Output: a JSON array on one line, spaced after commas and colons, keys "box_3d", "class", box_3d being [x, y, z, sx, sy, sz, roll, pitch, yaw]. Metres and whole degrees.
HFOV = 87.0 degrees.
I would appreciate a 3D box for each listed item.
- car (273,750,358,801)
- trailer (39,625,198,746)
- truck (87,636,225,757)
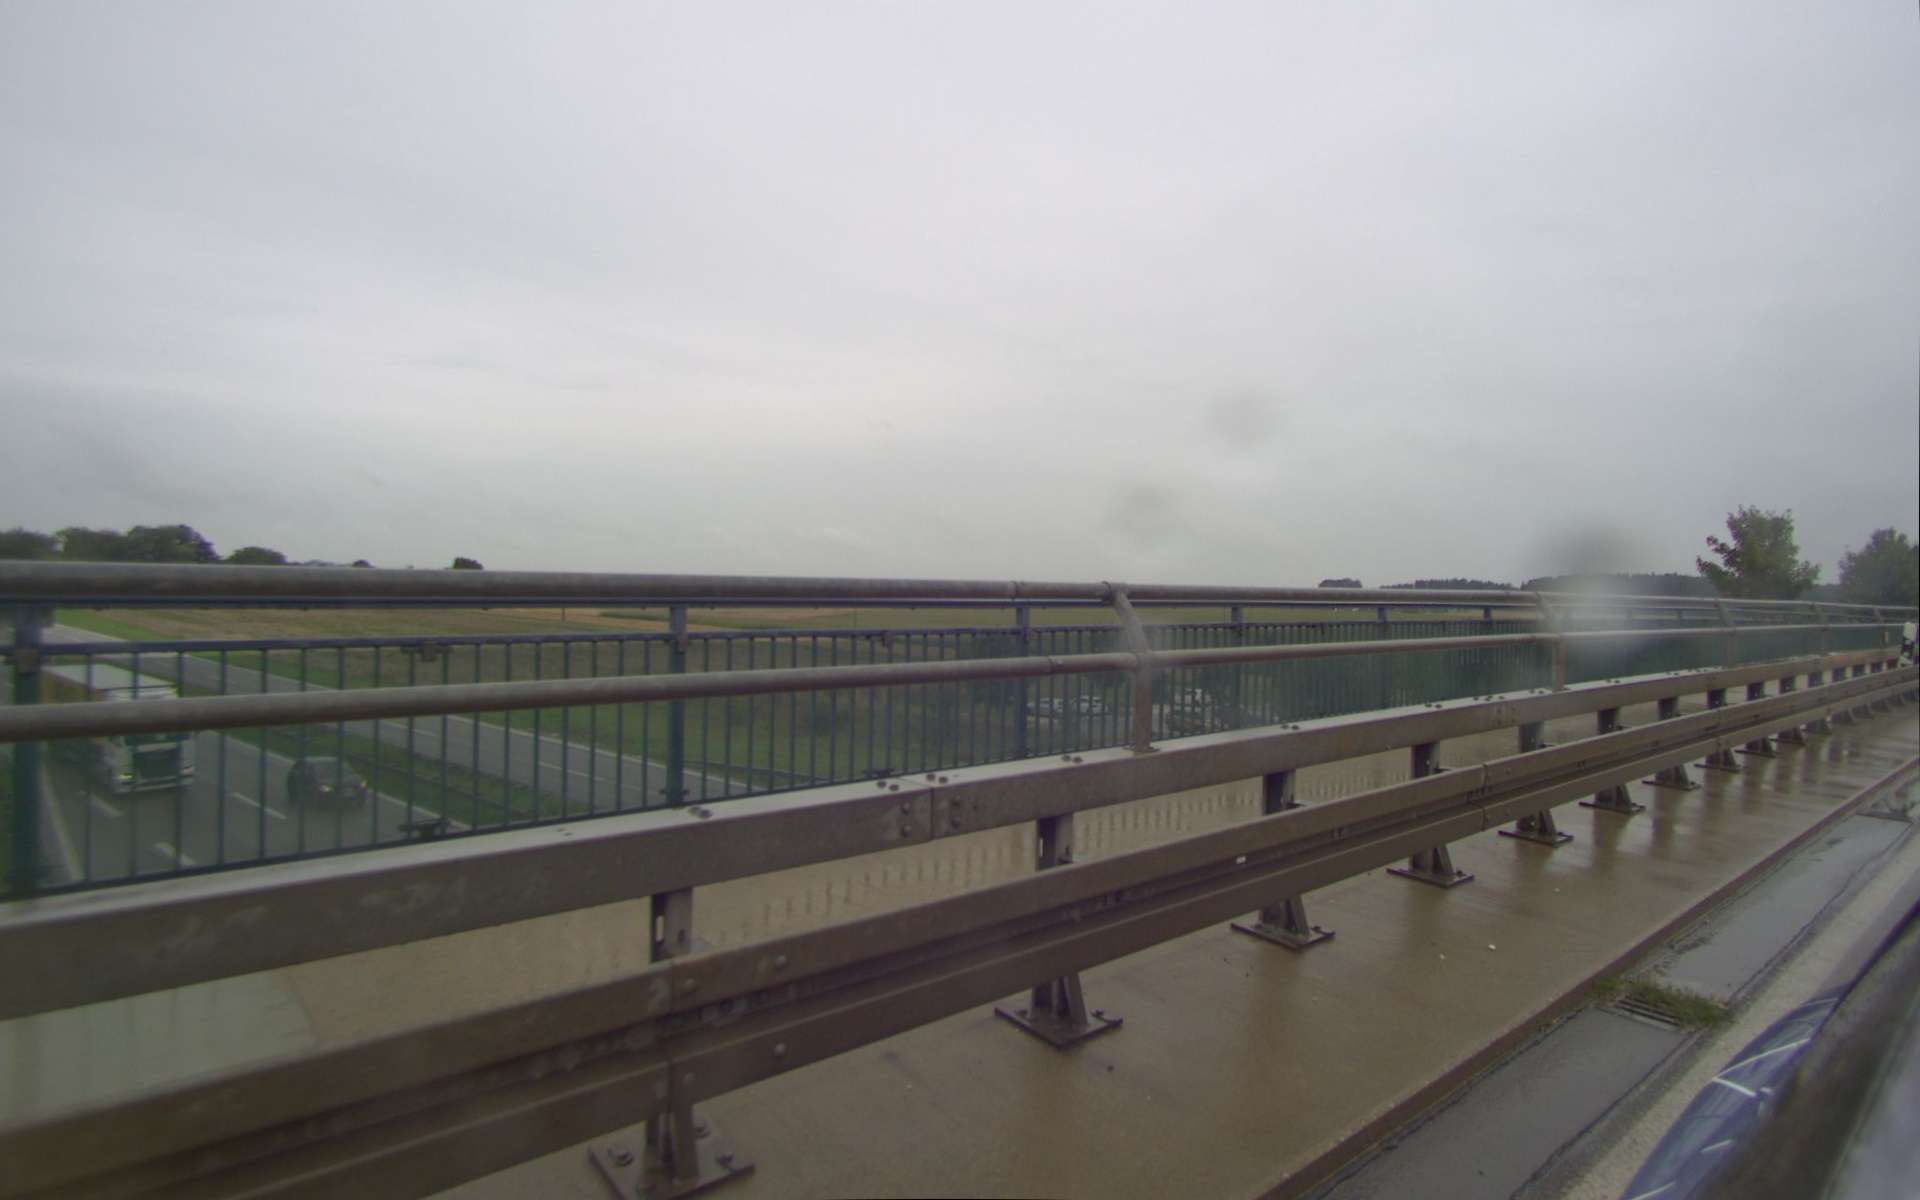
[{"box_3d": [-24.998, 6.739, 39.218, 3.980, 1.369, 1.653, -1, -1, 40], "class": "car"}, {"box_3d": [-37.131, 3.426, 44.332, 13.959, 4.018, 2.840, 2, 0, 40], "class": "trailer"}, {"box_3d": [-31.682, 3.596, 39.790, 6.789, 4.018, 2.840, 2, 0, 40], "class": "truck"}]
